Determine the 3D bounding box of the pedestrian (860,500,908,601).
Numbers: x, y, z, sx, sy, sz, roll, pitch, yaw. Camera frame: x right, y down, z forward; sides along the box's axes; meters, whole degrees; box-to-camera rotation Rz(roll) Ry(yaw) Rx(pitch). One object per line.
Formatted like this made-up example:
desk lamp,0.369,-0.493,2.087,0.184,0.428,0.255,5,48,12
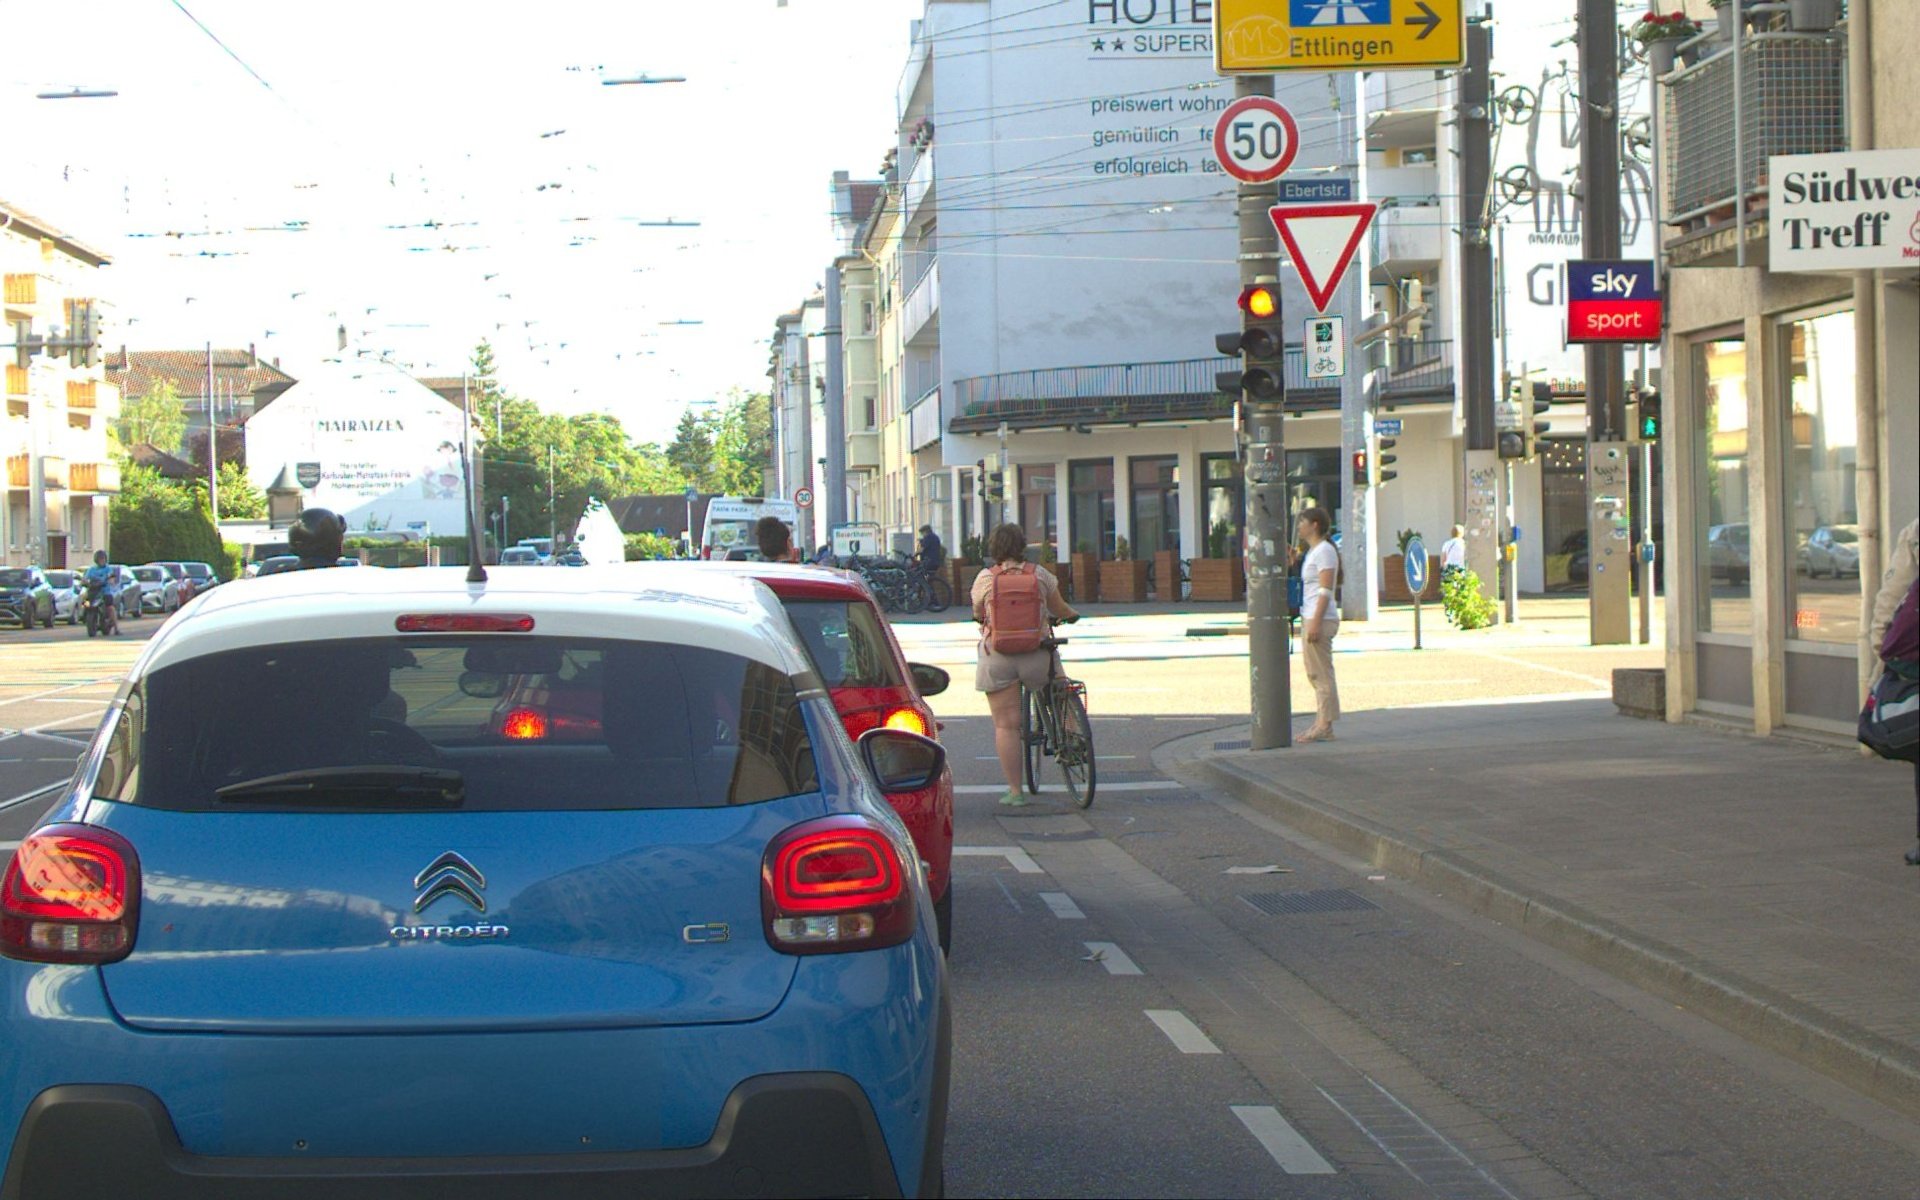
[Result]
pedestrian,-1.536,-0.995,69.203,0.630,2.007,0.724,1,0,-36

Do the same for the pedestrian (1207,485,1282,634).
pedestrian,3.878,-0.548,46.938,0.926,2.007,0.759,1,0,-1

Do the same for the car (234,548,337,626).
car,-14.951,-0.307,76.396,1.774,1.660,3.857,1,1,-4

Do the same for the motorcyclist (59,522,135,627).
motorcyclist,-16.888,-0.502,67.317,1.185,2.007,1.276,-1,1,-3

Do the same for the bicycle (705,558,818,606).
bicycle,-3.826,-0.353,66.321,2.132,0.898,0.367,1,0,-9

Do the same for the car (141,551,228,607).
car,-23.885,-0.651,106.001,1.983,1.681,4.001,1,1,-3

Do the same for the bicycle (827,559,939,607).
bicycle,-1.503,-0.328,67.016,2.132,0.898,0.367,1,0,-9

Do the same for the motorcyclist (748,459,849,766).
motorcyclist,-0.915,0.067,19.625,0.526,1.710,0.717,1,0,-1

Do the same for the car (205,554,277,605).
car,-24.385,-0.711,116.654,1.833,1.681,4.001,1,1,-4

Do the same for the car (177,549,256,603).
car,-24.049,-0.784,111.317,1.882,1.681,4.001,1,1,-4

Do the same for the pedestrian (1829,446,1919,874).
pedestrian,3.843,0.223,13.136,0.825,1.587,0.751,1,0,-1

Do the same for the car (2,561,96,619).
car,-24.383,-0.281,92.120,1.732,1.493,4.001,1,1,-5

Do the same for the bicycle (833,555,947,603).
bicycle,-1.345,-0.400,65.940,2.132,0.898,0.367,1,0,-9

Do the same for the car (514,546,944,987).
car,-0.798,0.551,13.097,1.424,1.462,2.924,-1,0,-1

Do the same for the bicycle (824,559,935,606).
bicycle,-1.576,-0.345,67.415,2.132,0.898,0.367,1,0,-9

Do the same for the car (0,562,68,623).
car,-23.653,-0.206,86.091,1.785,1.493,4.001,1,1,-4

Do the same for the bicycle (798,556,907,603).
bicycle,-2.139,-0.411,68.371,2.132,0.898,0.367,1,0,-9

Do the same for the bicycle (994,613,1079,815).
bicycle,0.445,0.652,20.544,0.427,1.119,1.998,1,1,-1

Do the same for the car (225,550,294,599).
car,-24.696,-0.894,121.322,1.846,1.681,3.875,1,1,-4

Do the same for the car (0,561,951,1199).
car,-0.871,0.651,7.167,1.654,1.439,3.523,1,1,-1

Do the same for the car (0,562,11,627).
car,-23.256,-0.133,79.128,1.787,1.506,4.150,1,1,-2

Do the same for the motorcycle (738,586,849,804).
motorcycle,-0.923,0.502,19.443,0.526,1.136,2.290,1,1,-1

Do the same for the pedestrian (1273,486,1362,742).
pedestrian,2.517,0.095,24.264,0.517,1.777,0.595,1,0,-2

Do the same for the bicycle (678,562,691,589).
bicycle,-9.278,-0.827,115.694,0.349,0.900,1.859,1,1,-2

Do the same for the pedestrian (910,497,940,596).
pedestrian,-0.717,-1.090,70.341,0.577,2.007,0.626,1,0,-3

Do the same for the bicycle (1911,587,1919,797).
bicycle,4.849,0.449,15.639,0.542,0.995,1.706,1,1,-1

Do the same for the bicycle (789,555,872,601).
bicycle,-2.616,-0.439,69.303,1.785,0.898,0.366,1,1,34

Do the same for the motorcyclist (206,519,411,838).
motorcyclist,-3.135,0.370,16.585,0.860,1.500,0.598,1,0,-1

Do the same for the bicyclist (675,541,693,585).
bicyclist,-9.259,-1.234,115.225,0.561,1.472,0.748,1,0,-3

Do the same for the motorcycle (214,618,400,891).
motorcycle,-3.161,0.713,16.775,0.537,1.215,1.981,1,1,-1

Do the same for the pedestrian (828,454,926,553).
pedestrian,-1.751,-2.038,73.536,1.993,2.007,4.000,1,1,-1

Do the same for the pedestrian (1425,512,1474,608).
pedestrian,8.195,-0.668,57.567,0.736,1.595,0.748,1,0,13

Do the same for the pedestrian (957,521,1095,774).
pedestrian,0.382,0.272,20.265,0.777,1.455,0.682,1,0,-1

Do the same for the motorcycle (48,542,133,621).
motorcycle,-16.927,-0.376,67.020,0.923,1.481,3.726,1,1,-3
